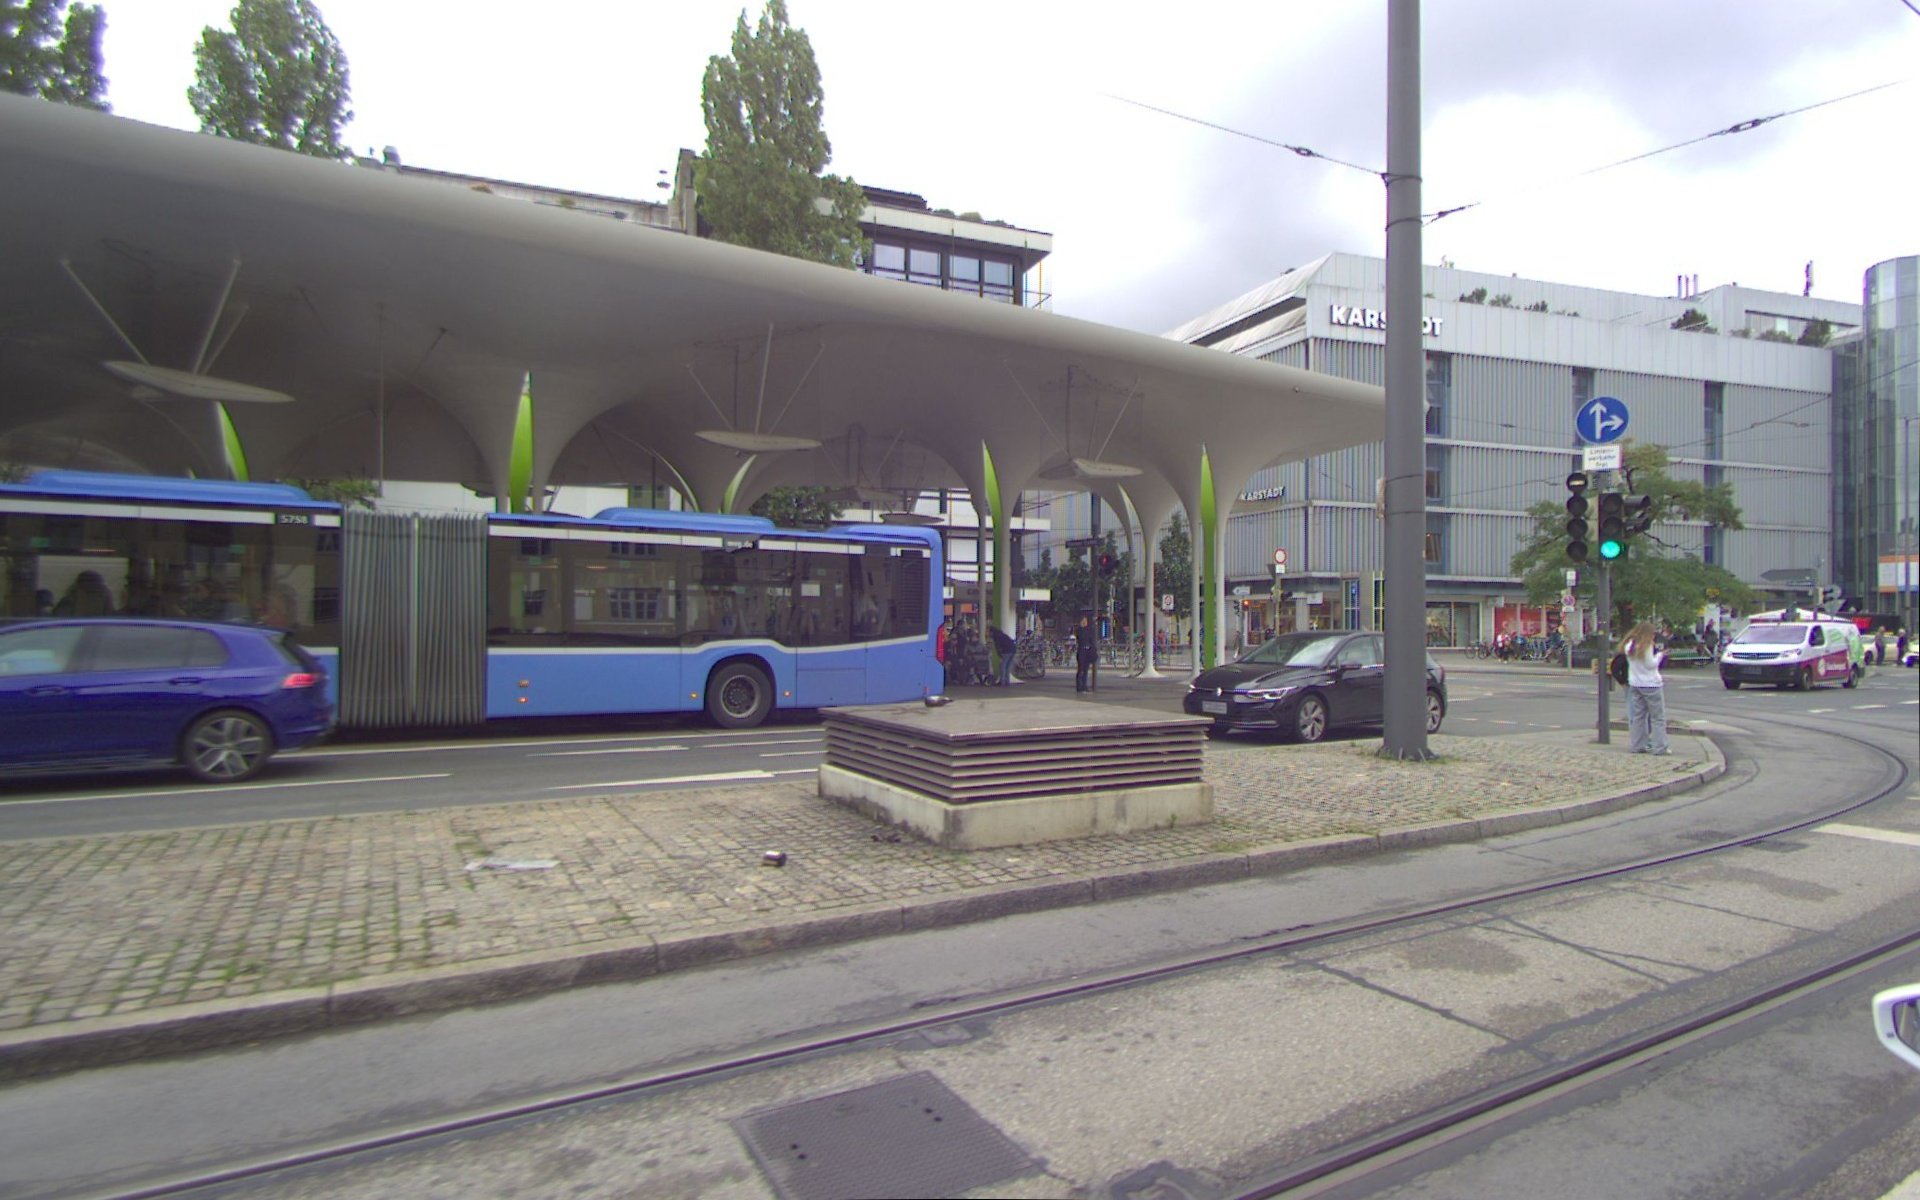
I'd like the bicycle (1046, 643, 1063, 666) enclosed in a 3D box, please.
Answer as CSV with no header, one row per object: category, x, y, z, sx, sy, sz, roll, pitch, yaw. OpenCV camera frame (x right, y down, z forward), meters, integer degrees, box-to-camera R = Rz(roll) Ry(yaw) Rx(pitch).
bicycle,4.003,2.288,42.519,0.446,0.952,1.732,1,-2,14

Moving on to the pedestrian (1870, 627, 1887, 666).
pedestrian,42.755,2.173,46.751,0.349,1.783,0.446,0,-1,-9

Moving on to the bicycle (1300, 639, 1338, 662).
bicycle,17.122,2.395,47.855,1.962,1.011,0.524,3,-2,-30

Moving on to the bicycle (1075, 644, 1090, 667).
bicycle,5.156,2.323,42.119,0.446,0.952,1.732,1,-2,12

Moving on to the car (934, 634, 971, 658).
car,-0.715,4.215,92.349,2.142,2.087,3.982,1,-2,-20

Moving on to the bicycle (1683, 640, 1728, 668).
bicycle,32.048,2.321,43.207,0.368,1.126,1.569,1,-1,-25

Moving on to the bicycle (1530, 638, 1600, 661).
bicycle,32.971,2.686,54.820,1.042,1.172,3.493,1,-2,-16

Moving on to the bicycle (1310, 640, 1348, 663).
bicycle,17.362,2.407,47.271,1.962,1.011,0.524,3,-2,-30

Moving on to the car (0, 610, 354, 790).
car,-7.733,0.818,8.749,4.186,1.414,1.669,1,-3,-32

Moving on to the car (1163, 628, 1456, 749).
car,4.896,1.124,13.915,3.993,1.435,1.831,2,-1,-34

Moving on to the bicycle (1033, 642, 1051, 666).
bicycle,3.460,2.274,42.379,0.446,0.952,1.732,1,-2,14

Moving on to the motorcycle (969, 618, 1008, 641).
motorcycle,2.890,2.988,101.750,3.860,2.188,1.173,1,-1,-6

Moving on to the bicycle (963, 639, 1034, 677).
bicycle,1.205,1.797,31.283,2.149,1.133,0.652,1,-1,-20

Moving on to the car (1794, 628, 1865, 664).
car,39.865,2.071,46.019,4.382,1.556,1.975,1,-2,-42

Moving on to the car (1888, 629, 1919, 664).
car,44.801,2.116,46.188,4.339,1.563,1.893,1,-2,-29

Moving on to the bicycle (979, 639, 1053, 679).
bicycle,1.667,1.748,29.985,2.133,1.139,0.640,1,-1,-21

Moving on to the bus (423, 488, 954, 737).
bus,-3.953,0.277,15.342,7.424,3.047,2.648,1,-3,-30

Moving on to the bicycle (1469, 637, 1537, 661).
bicycle,28.873,2.585,53.485,1.042,1.172,3.493,1,-2,-16

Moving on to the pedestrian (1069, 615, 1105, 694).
pedestrian,2.880,1.223,22.741,0.606,1.743,0.546,1,-1,-22

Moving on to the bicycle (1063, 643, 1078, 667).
bicycle,4.677,2.308,42.362,0.446,0.952,1.732,1,-2,12

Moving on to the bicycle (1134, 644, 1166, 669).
bicycle,7.735,2.296,40.829,0.448,0.952,1.723,-1,-3,41

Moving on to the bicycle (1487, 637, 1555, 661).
bicycle,30.031,2.614,53.864,1.042,1.172,3.493,1,-2,-16

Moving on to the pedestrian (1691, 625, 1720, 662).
pedestrian,33.732,1.956,45.439,0.740,1.676,0.770,1,-1,-19

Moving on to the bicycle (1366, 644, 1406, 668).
bicycle,18.796,2.472,44.329,1.962,1.011,0.524,3,-2,-30

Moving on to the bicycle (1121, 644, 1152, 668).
bicycle,7.182,2.280,40.866,0.448,0.952,1.724,0,-3,39

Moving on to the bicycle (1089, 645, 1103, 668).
bicycle,5.645,2.340,41.743,0.446,0.952,1.732,1,-2,12

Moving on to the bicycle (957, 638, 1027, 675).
bicycle,1.009,1.786,31.938,2.149,1.133,0.652,1,-1,-20

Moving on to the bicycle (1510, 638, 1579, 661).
bicycle,31.602,2.652,54.373,1.042,1.172,3.493,1,-2,-16

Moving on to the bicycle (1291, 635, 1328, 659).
bicycle,16.837,2.272,48.394,1.871,1.126,0.582,3,-2,-29

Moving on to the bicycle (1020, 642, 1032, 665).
bicycle,2.799,2.254,42.618,0.446,0.952,1.732,1,-2,5

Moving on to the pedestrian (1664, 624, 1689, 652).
pedestrian,32.835,1.730,46.006,1.031,1.292,0.542,1,-1,-29

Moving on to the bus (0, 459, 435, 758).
bus,-11.553,0.119,10.731,10.397,3.047,2.647,1,-3,-32

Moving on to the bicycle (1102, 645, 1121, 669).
bicycle,6.261,2.358,41.566,0.446,0.952,1.731,0,-2,20
